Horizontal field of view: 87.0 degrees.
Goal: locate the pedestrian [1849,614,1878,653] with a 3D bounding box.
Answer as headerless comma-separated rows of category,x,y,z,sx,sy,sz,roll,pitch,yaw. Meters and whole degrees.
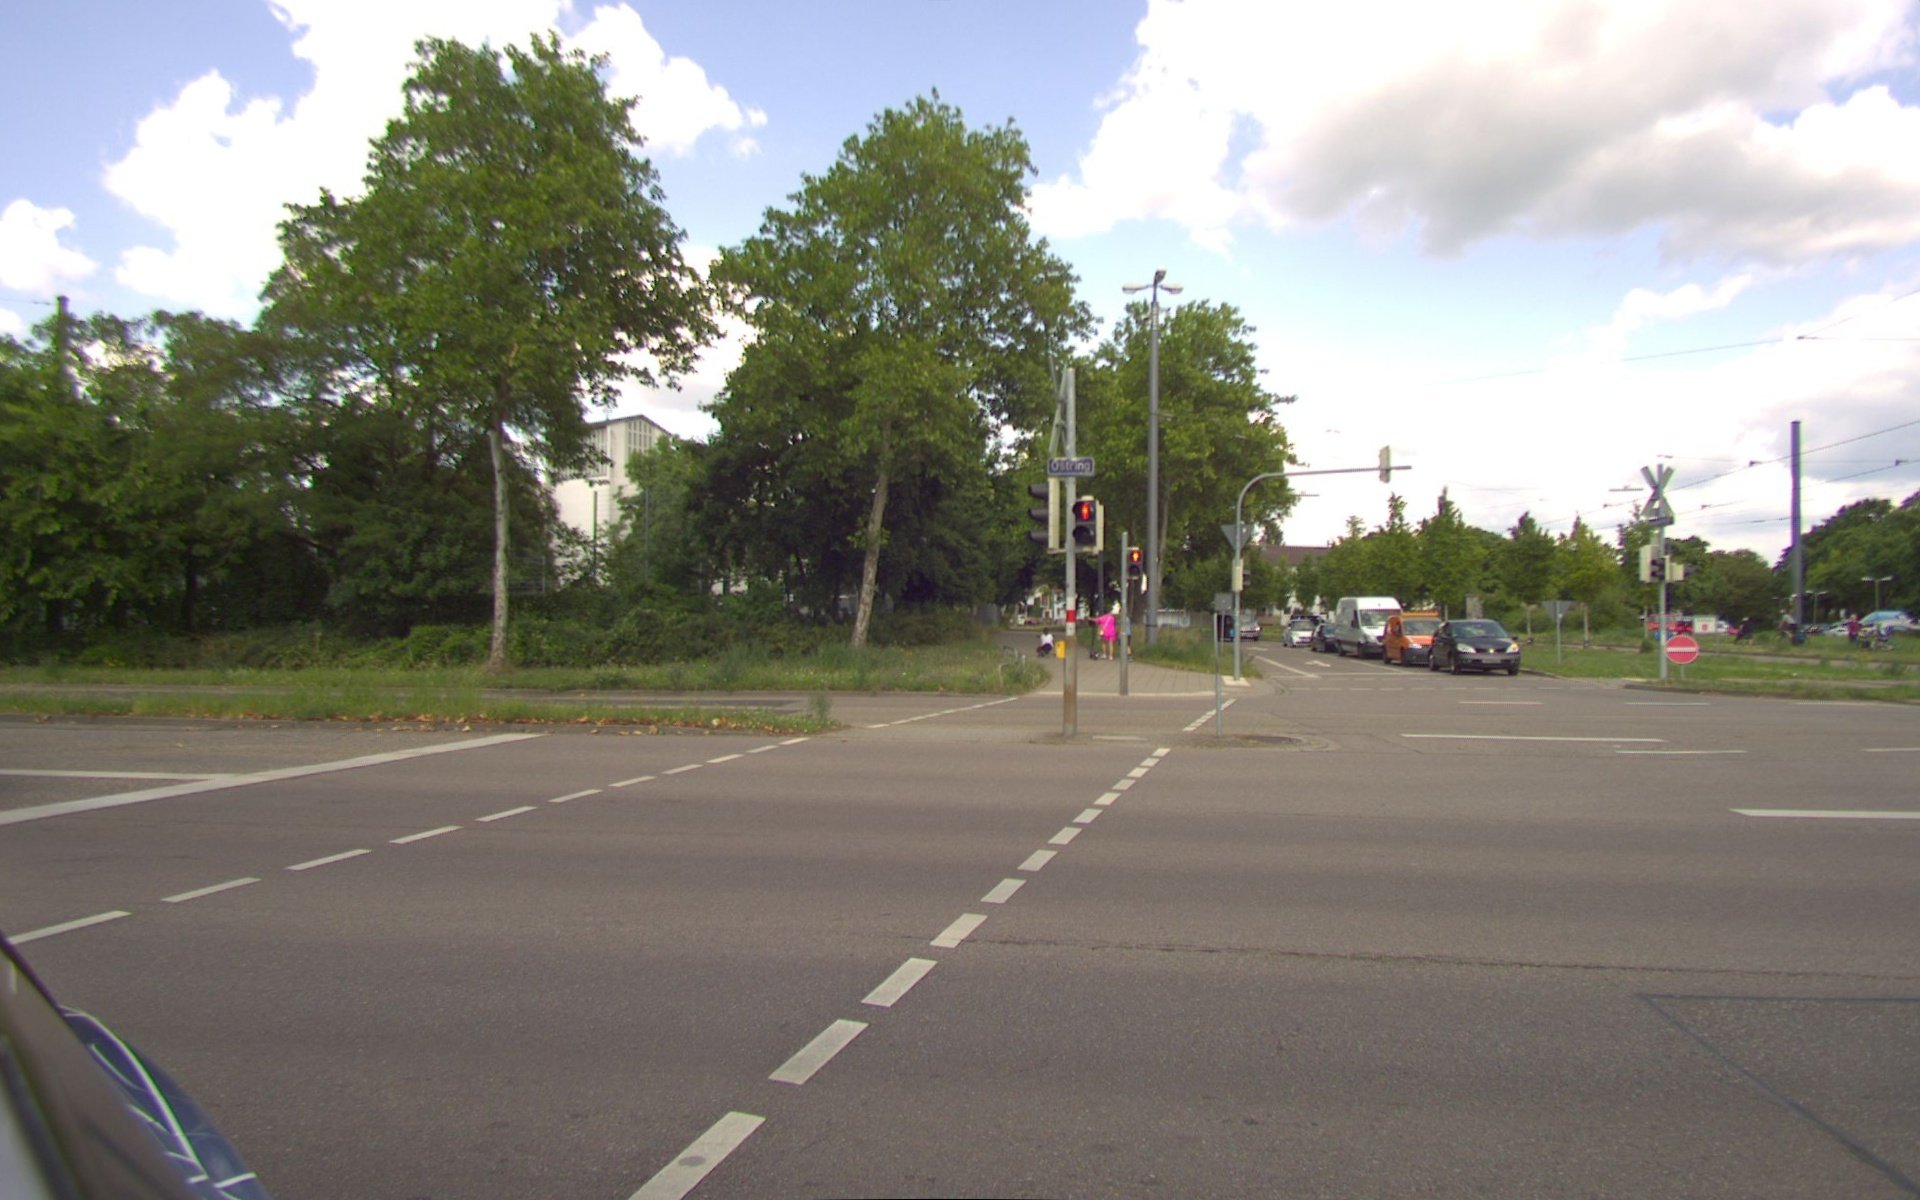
pedestrian,38.901,1.442,43.579,0.603,1.657,0.639,-2,-2,-6

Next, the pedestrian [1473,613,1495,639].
pedestrian,40.365,2.003,77.992,1.091,2.029,1.176,0,-1,1

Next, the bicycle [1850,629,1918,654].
bicycle,40.295,1.782,44.167,0.936,1.048,1.988,0,-1,-11

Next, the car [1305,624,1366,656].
car,18.265,1.913,49.381,1.790,1.442,4.459,0,-1,7

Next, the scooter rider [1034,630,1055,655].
scooter rider,2.613,1.312,31.231,0.605,0.734,0.858,-2,-2,6

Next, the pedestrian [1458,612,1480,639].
pedestrian,39.200,1.977,78.005,1.092,2.029,1.176,0,-1,3

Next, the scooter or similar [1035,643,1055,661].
scooter or similar,2.630,1.614,31.229,0.604,0.515,0.856,-2,-2,5

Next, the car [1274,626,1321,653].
car,19.089,2.202,57.469,1.791,1.442,4.370,0,-1,9

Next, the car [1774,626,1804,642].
car,89.291,3.614,109.013,1.994,1.652,4.340,-1,-2,33

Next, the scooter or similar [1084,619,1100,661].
scooter or similar,4.037,1.217,30.936,0.319,1.241,0.771,-3,-2,19

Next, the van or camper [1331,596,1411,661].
van or camper,17.215,1.180,42.713,1.961,2.543,6.016,0,-1,11

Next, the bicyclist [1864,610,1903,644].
bicyclist,40.300,1.176,44.180,0.947,1.500,0.838,0,-1,-10

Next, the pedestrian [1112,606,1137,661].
pedestrian,4.933,1.010,30.351,0.627,1.631,0.607,-1,-1,17

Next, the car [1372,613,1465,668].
car,16.062,1.368,35.689,1.863,1.813,4.357,0,-1,9

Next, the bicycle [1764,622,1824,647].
bicycle,39.652,1.650,48.155,0.935,1.163,1.990,0,-1,-20

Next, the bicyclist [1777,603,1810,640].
bicyclist,39.662,1.005,48.163,0.946,1.735,0.838,0,-1,-20

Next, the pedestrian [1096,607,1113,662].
pedestrian,4.397,1.040,30.726,0.418,1.631,0.593,-1,-1,17

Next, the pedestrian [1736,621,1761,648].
pedestrian,40.775,1.772,52.348,0.643,1.364,0.750,-2,-2,8

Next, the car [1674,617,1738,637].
car,59.124,2.131,80.291,3.990,1.541,1.977,-1,-2,34

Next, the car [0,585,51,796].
car,-9.871,0.728,7.755,4.449,1.664,1.926,0,0,8

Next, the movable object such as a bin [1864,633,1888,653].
movable object such as a bin,38.971,1.838,43.051,0.570,0.817,0.460,-2,-2,-6

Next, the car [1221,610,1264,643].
car,19.618,1.833,70.431,1.830,2.172,4.379,0,-1,2

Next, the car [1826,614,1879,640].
car,58.947,1.759,66.904,1.994,1.652,4.340,-1,-2,33

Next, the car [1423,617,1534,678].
car,15.091,1.333,29.682,1.716,1.643,4.040,0,-1,9
